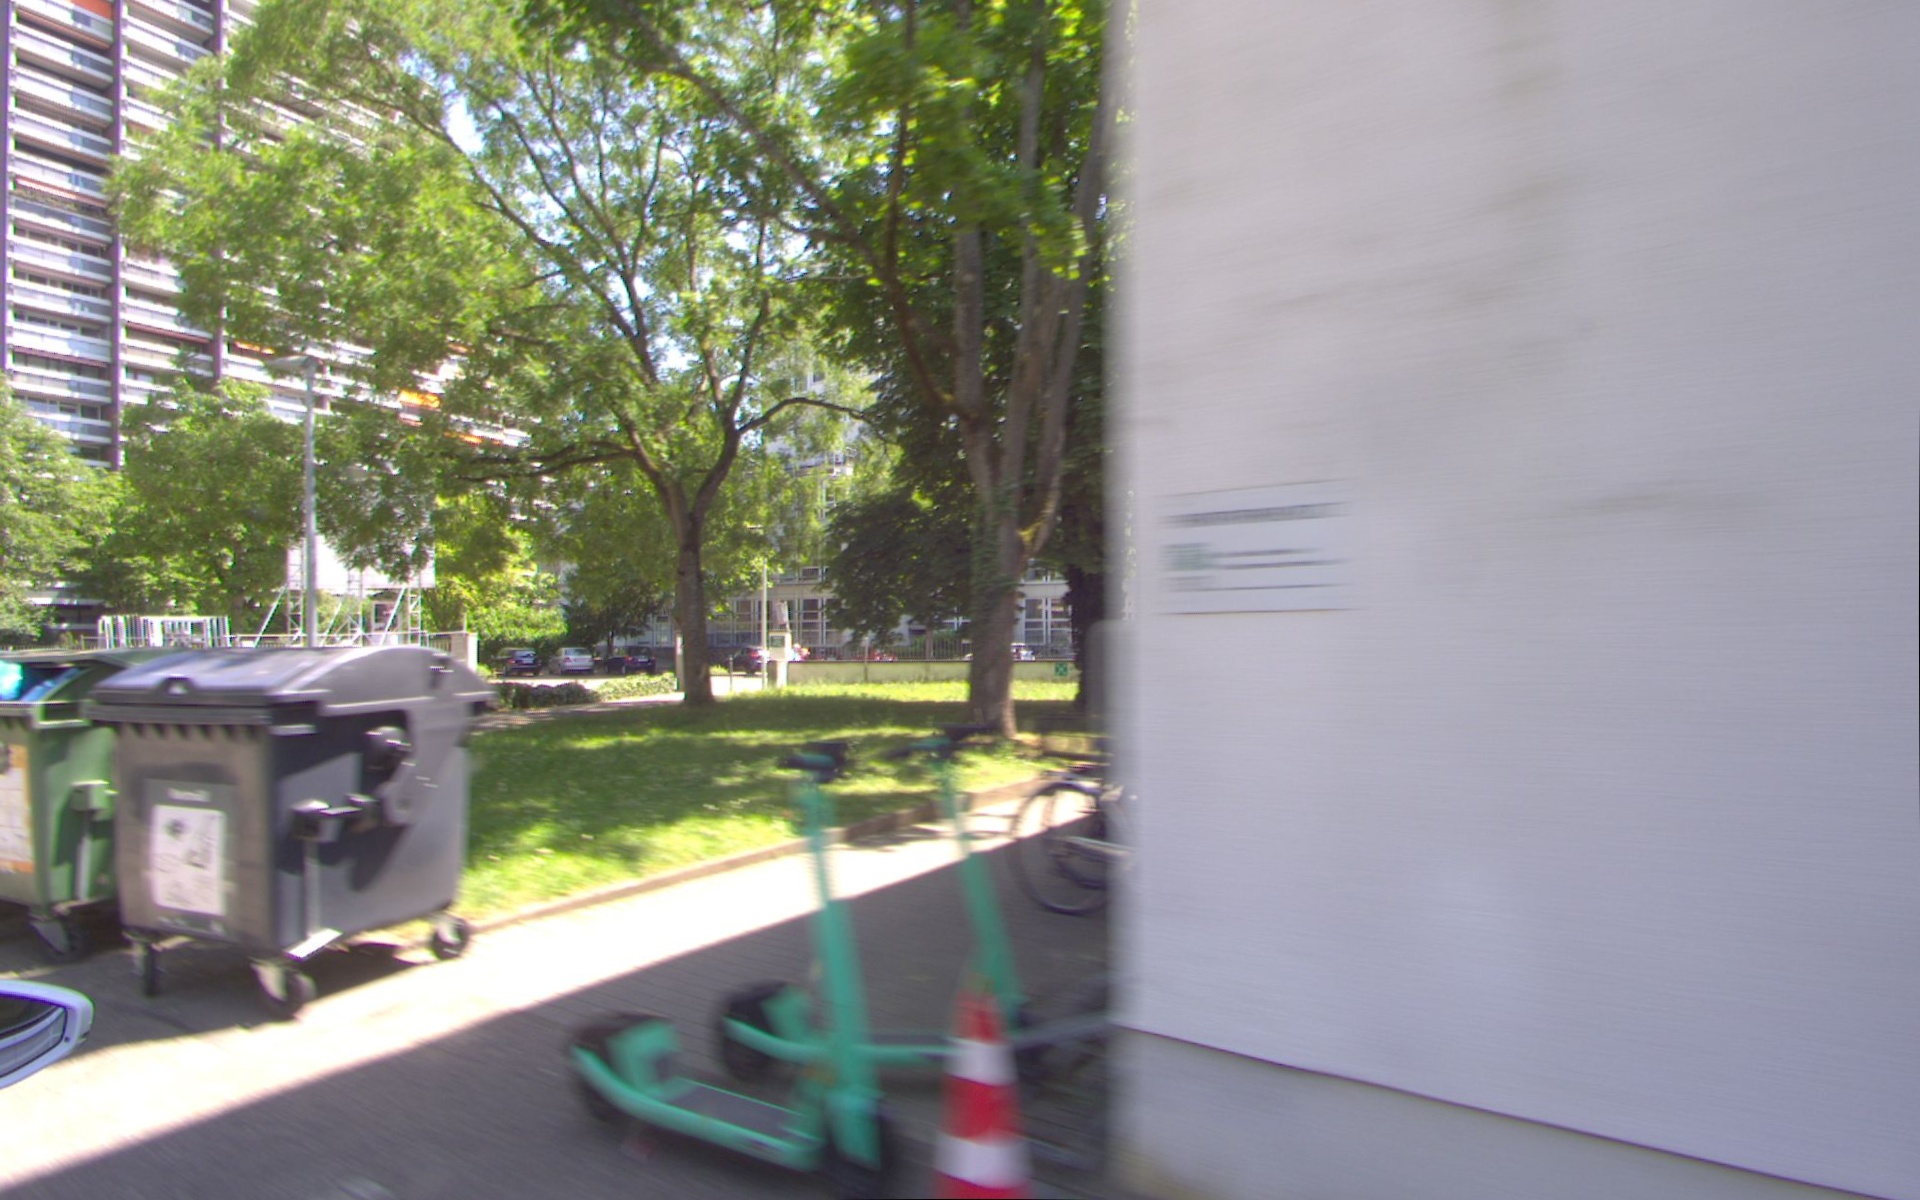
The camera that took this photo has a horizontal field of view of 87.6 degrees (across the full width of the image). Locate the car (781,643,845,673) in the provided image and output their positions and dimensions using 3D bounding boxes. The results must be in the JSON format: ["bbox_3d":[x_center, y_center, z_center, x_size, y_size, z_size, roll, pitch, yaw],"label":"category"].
[{"bbox_3d":[-7.589,3.001,51.464,1.595,1.463,3.648,1,-3,-40],"label":"car"}]

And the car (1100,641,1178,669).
[{"bbox_3d":[8.818,2.702,49.453,1.592,1.321,3.720,1,-3,-36],"label":"car"}]

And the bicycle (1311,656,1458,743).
[{"bbox_3d":[5.987,1.375,14.176,1.820,1.157,0.585,-2,-2,39],"label":"bicycle"}]

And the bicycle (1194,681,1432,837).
[{"bbox_3d":[2.915,1.275,8.370,1.810,1.117,0.520,-1,-2,34],"label":"bicycle"}]

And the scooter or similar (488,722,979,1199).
[{"bbox_3d":[-0.657,0.968,2.819,1.335,1.188,0.464,-2,-2,24],"label":"scooter or similar"}]

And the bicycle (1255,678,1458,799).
[{"bbox_3d":[3.937,1.338,10.018,1.810,1.083,0.520,-2,-2,34],"label":"bicycle"}]

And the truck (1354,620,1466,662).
[{"bbox_3d":[21.668,2.020,48.345,1.639,1.855,4.604,1,-4,-42],"label":"truck"}]

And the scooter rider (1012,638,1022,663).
[{"bbox_3d":[2.666,2.368,46.833,0.409,1.148,0.359,-1,-2,1],"label":"scooter rider"}]

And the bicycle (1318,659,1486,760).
[{"bbox_3d":[5.448,1.316,12.409,1.817,1.157,0.586,-2,-2,34],"label":"bicycle"}]

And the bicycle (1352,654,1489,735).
[{"bbox_3d":[6.989,1.406,15.234,1.817,1.157,0.586,-2,-2,34],"label":"bicycle"}]

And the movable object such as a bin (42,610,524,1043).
[{"bbox_3d":[-2.894,0.852,4.371,1.439,1.524,1.156,-2,-3,24],"label":"movable object such as a bin"}]

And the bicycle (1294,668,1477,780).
[{"bbox_3d":[4.781,1.358,11.313,1.817,1.157,0.586,-2,-2,34],"label":"bicycle"}]

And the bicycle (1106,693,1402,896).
[{"bbox_3d":[1.893,1.210,6.603,1.810,1.081,0.502,0,-1,34],"label":"bicycle"}]

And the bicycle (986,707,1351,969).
[{"bbox_3d":[1.018,1.140,5.178,1.810,1.081,0.452,-2,-2,34],"label":"bicycle"}]

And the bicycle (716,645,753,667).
[{"bbox_3d":[-13.299,3.300,59.184,0.771,1.202,2.423,-2,-3,28],"label":"bicycle"}]

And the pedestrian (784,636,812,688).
[{"bbox_3d":[-5.193,1.990,32.041,0.718,1.608,0.742,-1,-4,5],"label":"pedestrian"}]

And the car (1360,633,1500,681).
[{"bbox_3d":[15.594,1.883,33.376,3.861,1.482,1.707,-1,-2,5],"label":"car"}]

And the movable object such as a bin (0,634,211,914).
[{"bbox_3d":[-5.496,0.972,6.009,1.292,1.488,1.178,-3,-3,29],"label":"movable object such as a bin"}]

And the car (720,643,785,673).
[{"bbox_3d":[-10.802,3.031,51.946,1.628,1.482,3.644,1,-3,-43],"label":"car"}]

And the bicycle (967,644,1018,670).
[{"bbox_3d":[1.522,2.707,47.511,2.392,1.166,0.786,-1,-2,0],"label":"bicycle"}]

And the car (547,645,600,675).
[{"bbox_3d":[-20.278,3.121,52.503,1.619,1.482,3.651,1,-3,-38],"label":"car"}]

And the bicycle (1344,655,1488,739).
[{"bbox_3d":[6.622,1.385,14.584,1.817,1.157,0.586,-2,-2,34],"label":"bicycle"}]

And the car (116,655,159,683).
[{"bbox_3d":[-43.967,3.673,53.566,1.619,1.404,3.652,1,-3,-37],"label":"car"}]

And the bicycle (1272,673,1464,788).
[{"bbox_3d":[4.326,1.346,10.683,1.817,1.114,0.520,-2,-2,34],"label":"bicycle"}]

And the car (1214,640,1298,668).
[{"bbox_3d":[14.700,2.696,49.854,1.597,1.307,3.709,1,-3,-45],"label":"car"}]

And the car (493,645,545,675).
[{"bbox_3d":[-23.098,3.142,52.360,1.619,1.482,3.651,1,-3,-38],"label":"car"}]

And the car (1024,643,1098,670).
[{"bbox_3d":[5.030,2.850,50.314,1.593,1.297,3.719,1,-3,-37],"label":"car"}]

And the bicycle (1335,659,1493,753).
[{"bbox_3d":[6.006,1.371,13.298,1.817,1.157,0.586,-2,-2,34],"label":"bicycle"}]

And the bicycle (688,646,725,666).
[{"bbox_3d":[-15.208,3.347,60.181,0.771,1.172,2.376,-2,-3,28],"label":"bicycle"}]

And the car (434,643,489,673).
[{"bbox_3d":[-25.859,3.015,51.880,1.622,1.482,3.645,1,-3,-43],"label":"car"}]

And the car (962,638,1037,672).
[{"bbox_3d":[1.970,2.781,50.565,1.596,1.640,3.711,1,-3,-43],"label":"car"}]

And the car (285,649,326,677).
[{"bbox_3d":[-34.905,3.341,53.350,1.619,1.404,3.652,1,-3,-37],"label":"car"}]

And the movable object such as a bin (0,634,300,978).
[{"bbox_3d":[-4.406,0.946,5.177,1.291,1.488,1.179,-3,-3,27],"label":"movable object such as a bin"}]

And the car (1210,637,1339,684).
[{"bbox_3d":[10.602,2.035,33.989,3.861,1.482,1.707,-1,-2,5],"label":"car"}]

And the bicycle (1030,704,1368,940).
[{"bbox_3d":[1.292,1.170,5.655,1.810,1.081,0.452,-2,-2,34],"label":"bicycle"}]

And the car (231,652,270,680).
[{"bbox_3d":[-38.200,3.542,53.872,1.619,1.404,3.652,1,-3,-37],"label":"car"}]

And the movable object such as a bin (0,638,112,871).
[{"bbox_3d":[-6.726,1.017,6.721,1.291,1.488,1.179,-3,-3,27],"label":"movable object such as a bin"}]

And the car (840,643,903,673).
[{"bbox_3d":[-4.591,2.958,51.422,1.593,1.454,3.578,1,-3,-37],"label":"car"}]

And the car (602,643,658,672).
[{"bbox_3d":[-17.269,3.004,52.327,1.619,1.482,3.651,1,-3,-38],"label":"car"}]

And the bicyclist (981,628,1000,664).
[{"bbox_3d":[1.438,2.193,47.521,0.883,1.686,0.859,-1,-2,1],"label":"bicyclist"}]

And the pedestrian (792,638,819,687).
[{"bbox_3d":[-5.112,2.072,33.167,0.719,1.608,0.741,-1,-4,7],"label":"pedestrian"}]

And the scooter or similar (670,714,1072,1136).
[{"bbox_3d":[-0.288,0.993,3.321,1.233,1.188,0.465,-1,-2,16],"label":"scooter or similar"}]

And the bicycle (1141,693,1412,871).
[{"bbox_3d":[2.253,1.255,7.265,1.810,1.081,0.502,-1,-2,34],"label":"bicycle"}]

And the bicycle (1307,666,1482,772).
[{"bbox_3d":[5.116,1.368,11.853,1.817,1.157,0.586,-2,-2,34],"label":"bicycle"}]

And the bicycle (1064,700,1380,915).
[{"bbox_3d":[1.561,1.196,6.146,1.810,1.081,0.502,-2,-2,34],"label":"bicycle"}]

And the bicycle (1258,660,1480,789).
[{"bbox_3d":[3.669,1.109,9.047,1.799,1.117,0.473,0,-1,1],"label":"bicycle"}]

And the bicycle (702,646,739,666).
[{"bbox_3d":[-14.275,3.331,59.693,0.771,1.172,2.376,-2,-3,28],"label":"bicycle"}]

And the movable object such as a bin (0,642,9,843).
[{"bbox_3d":[-8.006,1.083,7.534,1.320,1.488,1.172,-4,-4,44],"label":"movable object such as a bin"}]
